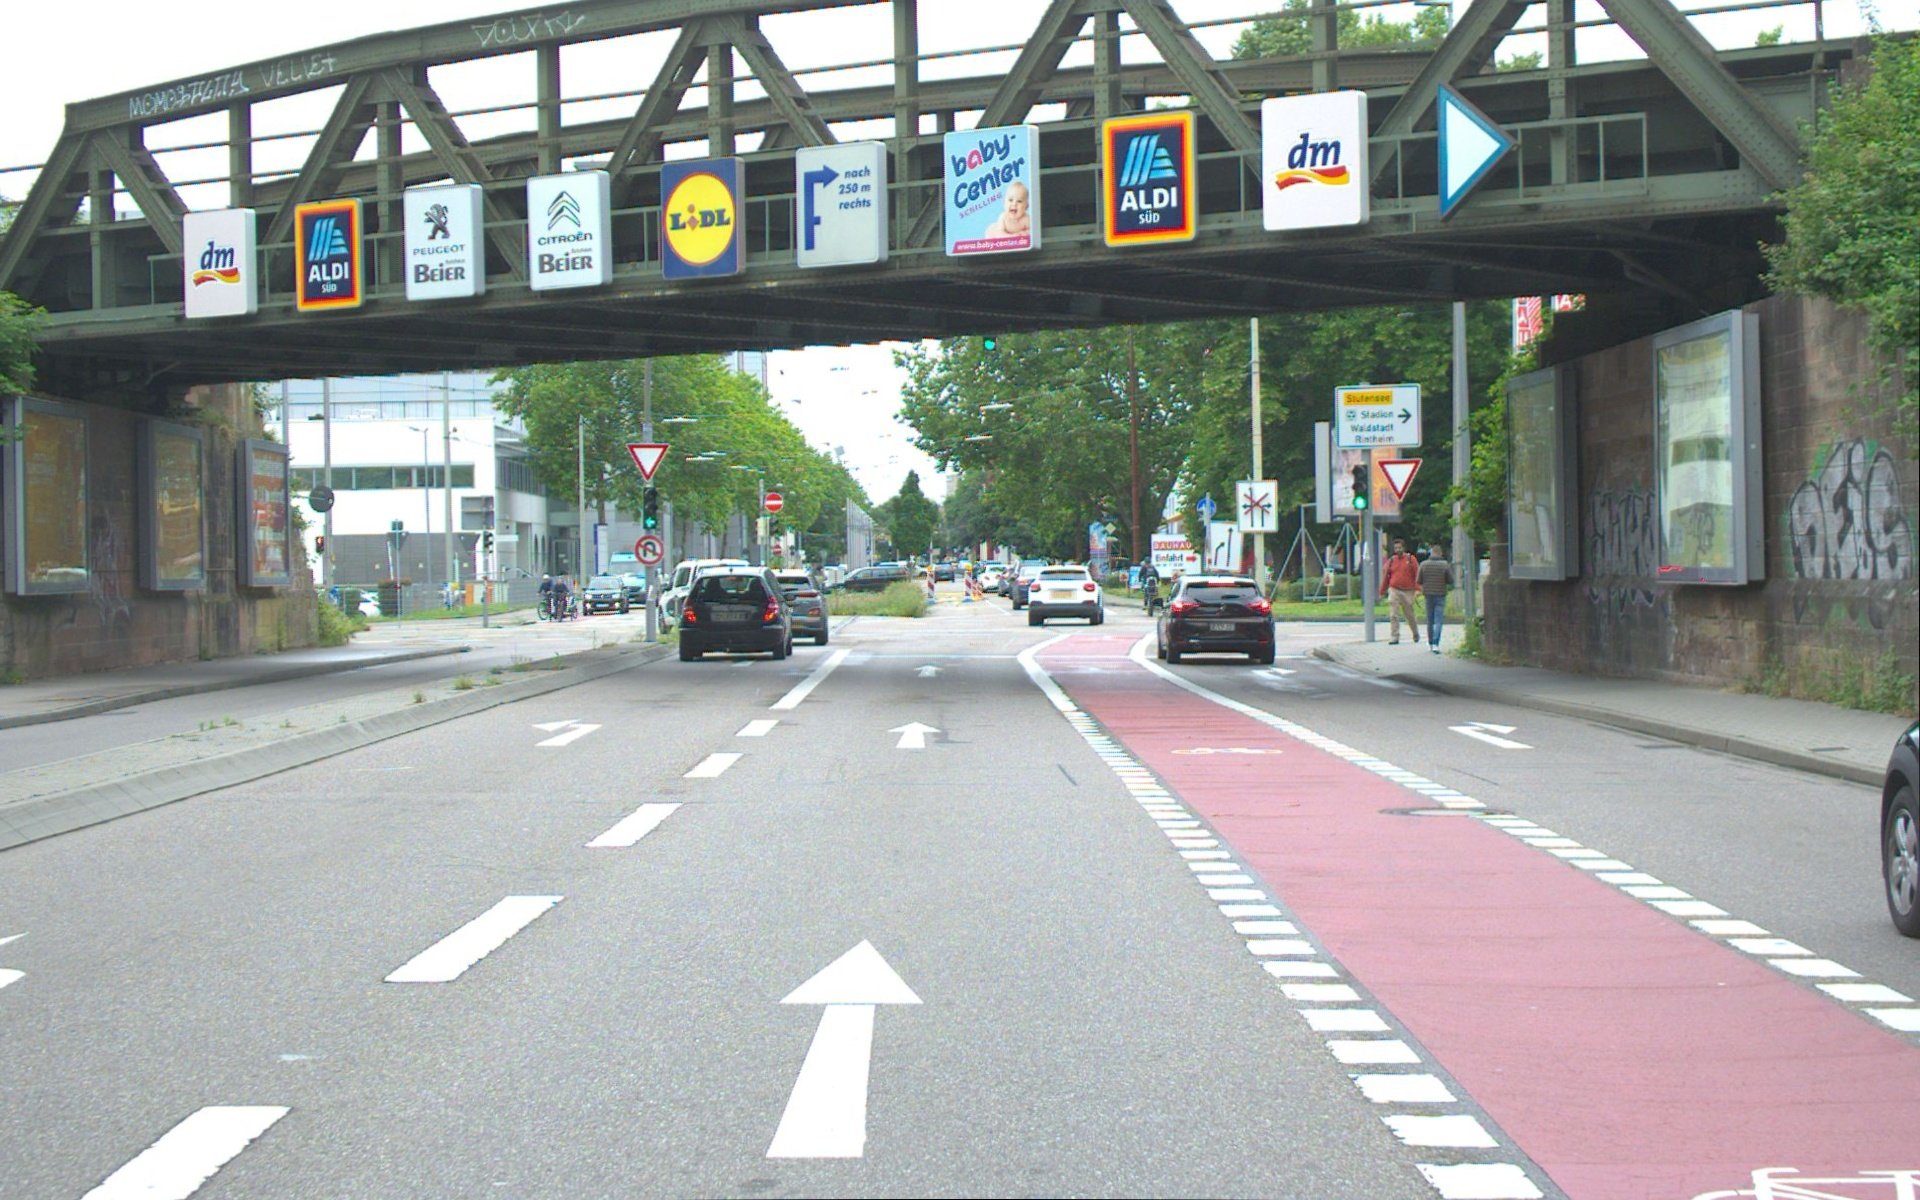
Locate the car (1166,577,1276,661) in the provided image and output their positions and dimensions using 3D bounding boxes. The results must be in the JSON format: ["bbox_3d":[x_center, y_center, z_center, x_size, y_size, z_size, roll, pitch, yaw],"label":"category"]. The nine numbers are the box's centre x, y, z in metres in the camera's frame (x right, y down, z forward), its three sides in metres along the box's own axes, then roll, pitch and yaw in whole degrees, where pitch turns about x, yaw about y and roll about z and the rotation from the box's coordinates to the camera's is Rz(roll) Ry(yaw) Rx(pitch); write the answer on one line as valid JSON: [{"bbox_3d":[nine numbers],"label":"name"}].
[{"bbox_3d":[4.180,0.288,55.445,1.647,1.276,3.419,0,1,2],"label":"car"}]

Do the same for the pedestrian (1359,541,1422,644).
[{"bbox_3d":[7.369,-0.135,58.822,0.872,1.753,0.786,0,1,22],"label":"pedestrian"}]

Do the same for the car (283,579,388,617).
[{"bbox_3d":[-28.911,-0.107,159.219,4.526,1.628,1.913,-1,0,-3],"label":"car"}]

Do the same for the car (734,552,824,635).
[{"bbox_3d":[-3.732,-0.153,70.492,1.772,1.647,3.670,0,1,-4],"label":"car"}]

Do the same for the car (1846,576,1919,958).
[{"bbox_3d":[4.456,0.653,12.158,1.679,1.426,3.774,0,1,0],"label":"car"}]

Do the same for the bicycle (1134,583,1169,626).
[{"bbox_3d":[5.594,0.117,100.479,0.816,1.208,2.683,-1,0,-1],"label":"bicycle"}]

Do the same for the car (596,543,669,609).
[{"bbox_3d":[-14.435,-1.060,151.923,2.328,2.816,5.948,-1,0,3],"label":"car"}]

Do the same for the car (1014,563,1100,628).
[{"bbox_3d":[2.445,-0.136,87.400,1.823,1.595,3.776,0,1,-4],"label":"car"}]

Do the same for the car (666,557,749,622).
[{"bbox_3d":[-6.205,-0.286,84.553,1.961,1.522,5.011,0,1,-4],"label":"car"}]

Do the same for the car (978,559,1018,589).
[{"bbox_3d":[1.933,-1.332,177.695,1.795,1.508,3.706,0,1,-4],"label":"car"}]

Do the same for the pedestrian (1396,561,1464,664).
[{"bbox_3d":[7.542,0.189,55.190,0.776,1.634,0.744,-1,1,-33],"label":"pedestrian"}]

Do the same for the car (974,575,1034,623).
[{"bbox_3d":[1.448,-0.041,114.165,1.684,1.508,3.706,0,1,-4],"label":"car"}]

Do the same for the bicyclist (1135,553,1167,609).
[{"bbox_3d":[5.577,-0.563,100.473,0.816,1.624,1.235,-1,0,-1],"label":"bicyclist"}]

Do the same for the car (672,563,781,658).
[{"bbox_3d":[-3.935,0.146,58.024,1.768,1.522,3.670,0,1,-4],"label":"car"}]
